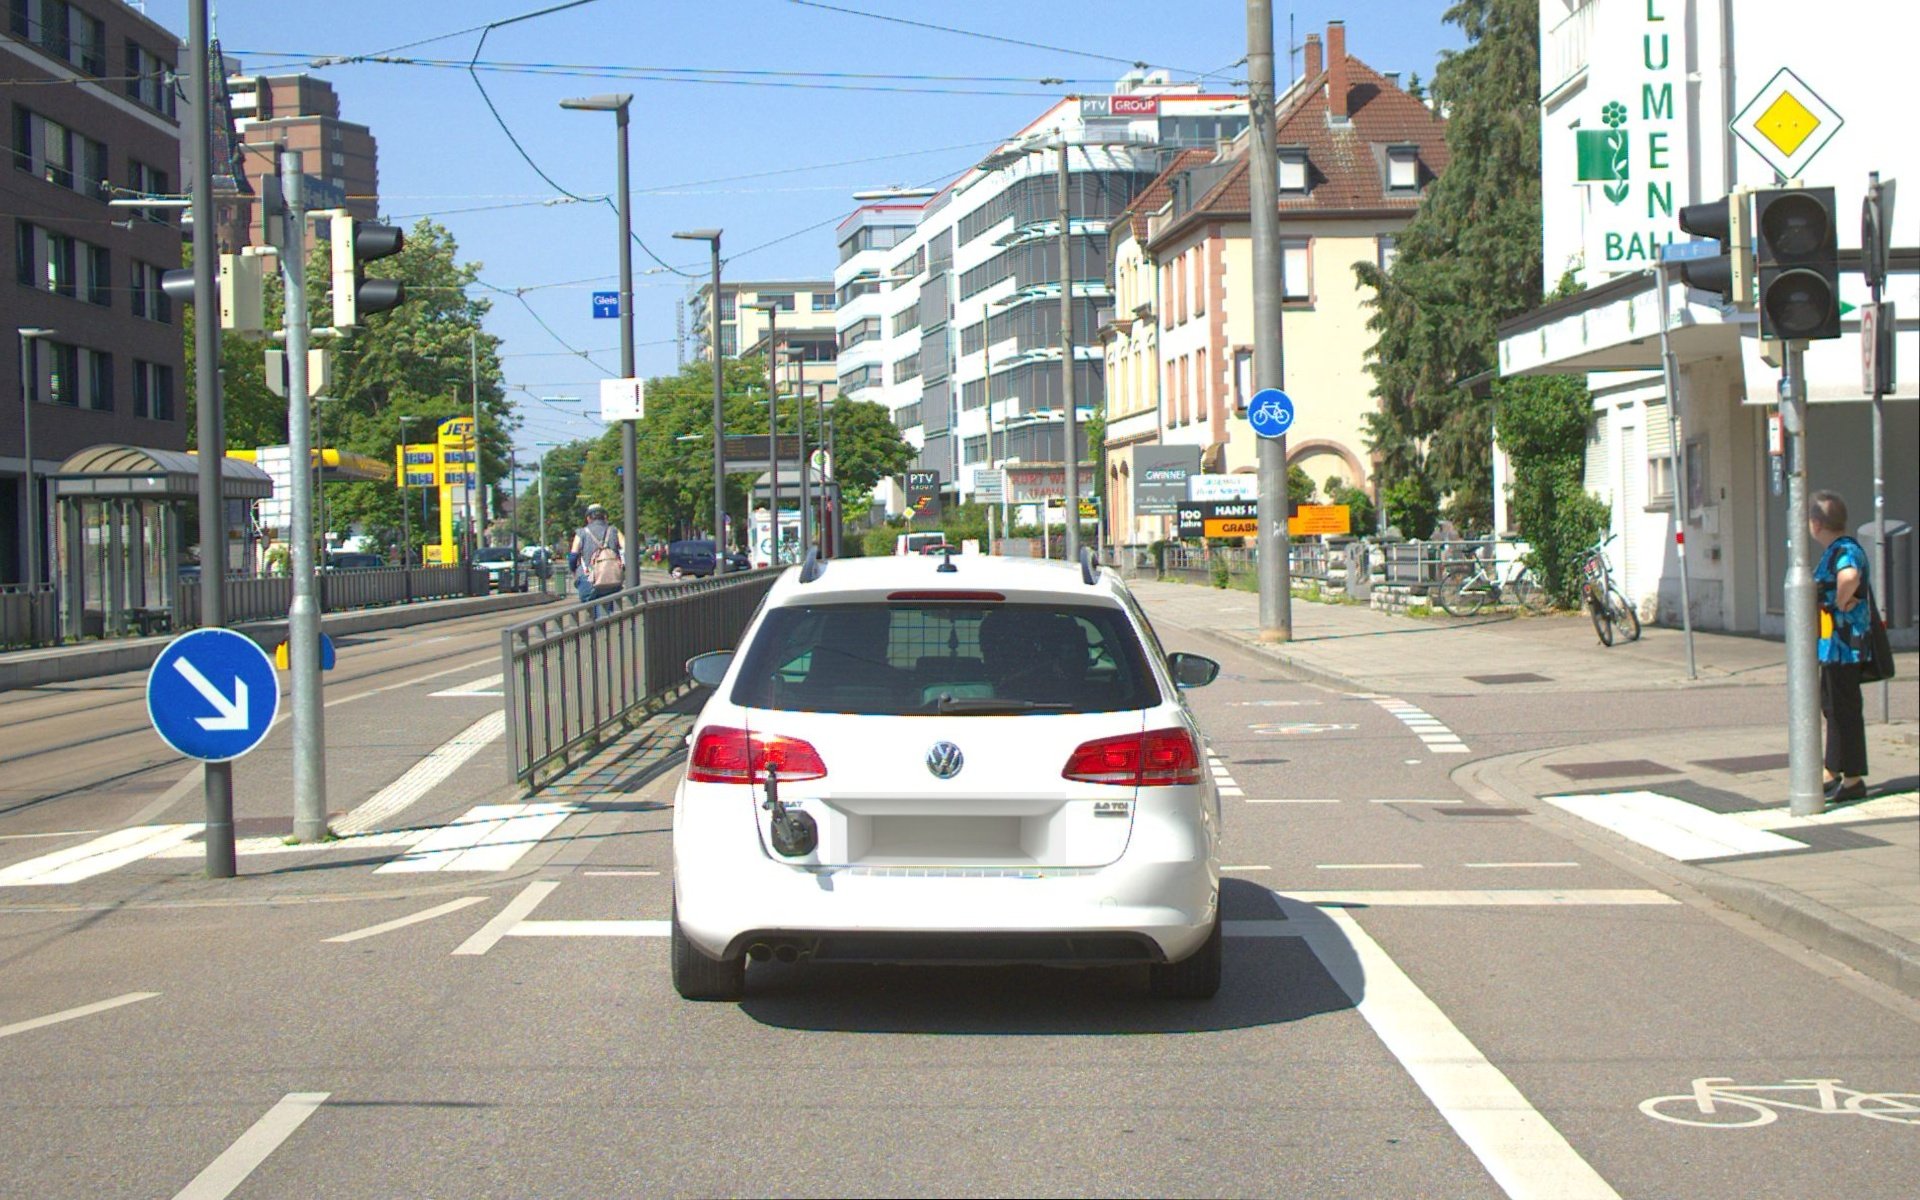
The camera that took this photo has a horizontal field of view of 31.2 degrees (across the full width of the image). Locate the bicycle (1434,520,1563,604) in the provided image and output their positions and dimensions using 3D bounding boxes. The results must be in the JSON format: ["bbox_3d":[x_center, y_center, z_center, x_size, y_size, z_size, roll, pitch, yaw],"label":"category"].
[{"bbox_3d":[7.553,-0.533,48.247,1.712,1.126,0.525,-2,1,2],"label":"bicycle"}]

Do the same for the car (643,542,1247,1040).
[{"bbox_3d":[-0.040,0.527,11.992,1.753,1.413,3.853,1,1,0],"label":"car"}]

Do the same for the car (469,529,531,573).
[{"bbox_3d":[-16.335,-1.748,122.194,1.667,1.461,3.773,-2,1,0],"label":"car"}]

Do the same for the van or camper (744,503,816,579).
[{"bbox_3d":[-7.835,-2.581,149.261,2.943,3.169,6.614,-2,1,-3],"label":"van or camper"}]

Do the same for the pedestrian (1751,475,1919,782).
[{"bbox_3d":[4.463,0.134,17.442,0.779,1.505,0.858,-1,1,8],"label":"pedestrian"}]

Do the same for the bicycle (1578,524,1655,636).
[{"bbox_3d":[7.069,-0.234,36.959,0.726,1.135,2.193,-1,1,12],"label":"bicycle"}]

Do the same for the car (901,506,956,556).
[{"bbox_3d":[-1.336,-2.911,144.385,1.993,2.007,4.001,-2,1,-4],"label":"car"}]

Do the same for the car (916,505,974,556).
[{"bbox_3d":[-0.628,-2.816,138.962,1.993,2.007,4.001,-2,1,-4],"label":"car"}]

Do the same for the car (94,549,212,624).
[{"bbox_3d":[-16.734,-0.302,71.462,1.572,1.454,3.935,-2,1,-1],"label":"car"}]

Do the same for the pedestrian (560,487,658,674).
[{"bbox_3d":[-3.466,-0.199,34.034,0.826,1.803,0.833,-2,1,1],"label":"pedestrian"}]
